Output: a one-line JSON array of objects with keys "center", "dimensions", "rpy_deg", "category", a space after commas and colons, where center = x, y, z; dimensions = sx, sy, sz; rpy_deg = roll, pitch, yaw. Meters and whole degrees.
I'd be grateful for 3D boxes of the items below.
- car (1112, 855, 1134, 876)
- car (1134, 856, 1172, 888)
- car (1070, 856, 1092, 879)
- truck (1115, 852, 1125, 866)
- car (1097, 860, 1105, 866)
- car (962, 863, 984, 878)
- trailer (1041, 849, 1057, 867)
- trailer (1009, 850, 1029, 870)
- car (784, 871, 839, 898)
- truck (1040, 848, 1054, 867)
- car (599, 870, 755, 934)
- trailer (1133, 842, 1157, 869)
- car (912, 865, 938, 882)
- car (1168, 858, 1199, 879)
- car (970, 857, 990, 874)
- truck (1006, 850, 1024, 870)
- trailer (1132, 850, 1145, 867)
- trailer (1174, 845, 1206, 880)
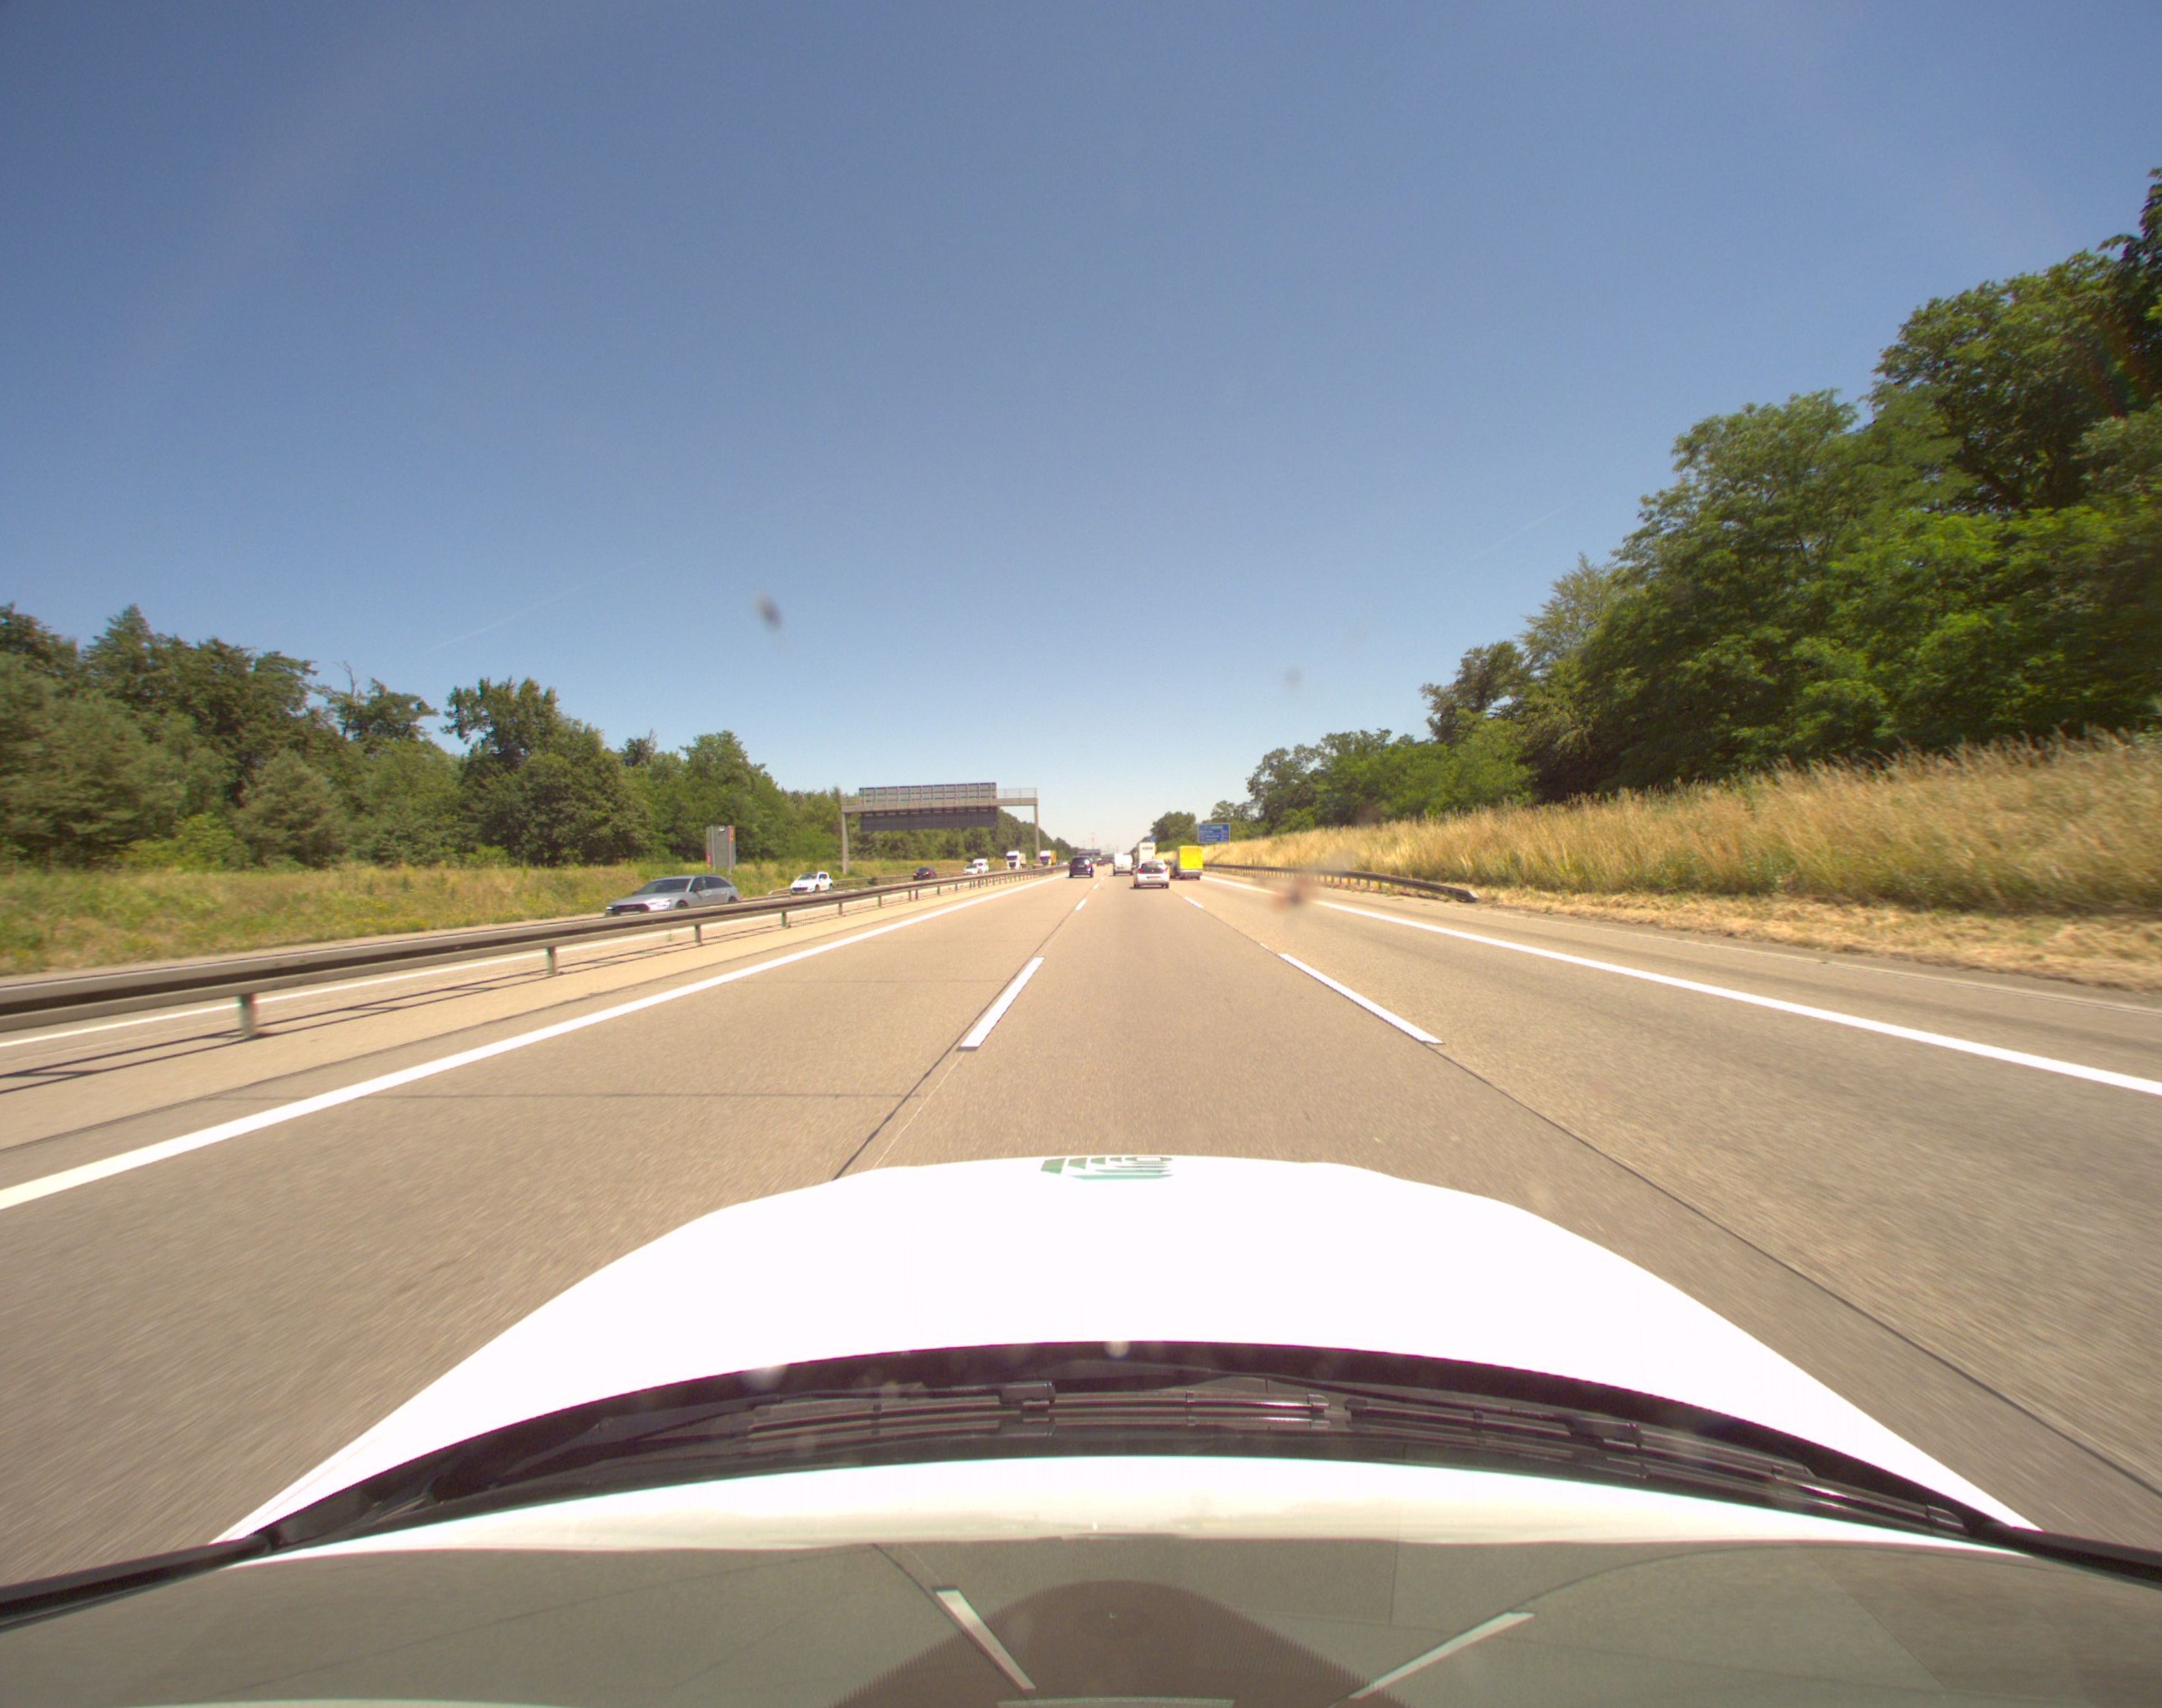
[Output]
[{"center": [3.716, 1.035, 73.005], "dimensions": [1.807, 1.827, 5.113], "rpy_deg": [-2, -1, 2], "category": "car"}, {"center": [3.598, 0.880, 41.325], "dimensions": [1.701, 1.495, 4.026], "rpy_deg": [-1, 0, 3], "category": "car"}, {"center": [0.042, 1.074, 66.367], "dimensions": [1.620, 1.755, 3.807], "rpy_deg": [-1, 0, 3], "category": "car"}, {"center": [8.303, 1.042, 173.513], "dimensions": [2.052, 2.914, 7.006], "rpy_deg": [-2, -1, 2], "category": "truck"}, {"center": [4.326, 1.903, 175.293], "dimensions": [1.600, 1.300, 3.676], "rpy_deg": [-1, 0, 2], "category": "car"}, {"center": [-12.211, 1.806, 92.538], "dimensions": [1.640, 1.499, 4.563], "rpy_deg": [-4, 0, 2], "category": "car"}, {"center": [-7.635, 0.876, 197.032], "dimensions": [2.454, 4.072, 14.287], "rpy_deg": [-4, 0, 2], "category": "trailer"}, {"center": [-13.128, 1.226, 172.544], "dimensions": [2.615, 3.948, 11.164], "rpy_deg": [-4, 0, 2], "category": "trailer"}, {"center": [-17.849, 2.003, 54.253], "dimensions": [1.788, 1.516, 4.905], "rpy_deg": [-4, 0, 2], "category": "car"}, {"center": [-7.928, 0.839, 190.176], "dimensions": [2.454, 4.072, 6.291], "rpy_deg": [-4, 0, 2], "category": "truck"}, {"center": [-11.517, 1.298, 23.669], "dimensions": [1.787, 1.474, 4.988], "rpy_deg": [-4, 0, 2], "category": "car"}, {"center": [10.305, 0.306, 132.590], "dimensions": [3.273, 4.219, 13.571], "rpy_deg": [-1, -1, 2], "category": "trailer"}, {"center": [-16.864, 2.080, 88.471], "dimensions": [1.640, 1.591, 4.614], "rpy_deg": [-4, 0, 2], "category": "car"}, {"center": [7.461, 1.017, 59.704], "dimensions": [1.814, 1.456, 4.790], "rpy_deg": [-1, -1, 1], "category": "car"}, {"center": [-15.077, 1.758, 122.024], "dimensions": [1.980, 2.340, 5.812], "rpy_deg": [-4, 0, 2], "category": "car"}, {"center": [-13.420, 1.210, 166.005], "dimensions": [2.615, 3.948, 6.486], "rpy_deg": [-4, 0, 2], "category": "truck"}, {"center": [13.388, 1.030, 191.097], "dimensions": [2.672, 3.837, 12.016], "rpy_deg": [-1, -1, 2], "category": "trailer"}, {"center": [7.386, 0.573, 55.396], "dimensions": [1.697, 2.289, 3.841], "rpy_deg": [-1, -1, 1], "category": "trailer"}]
